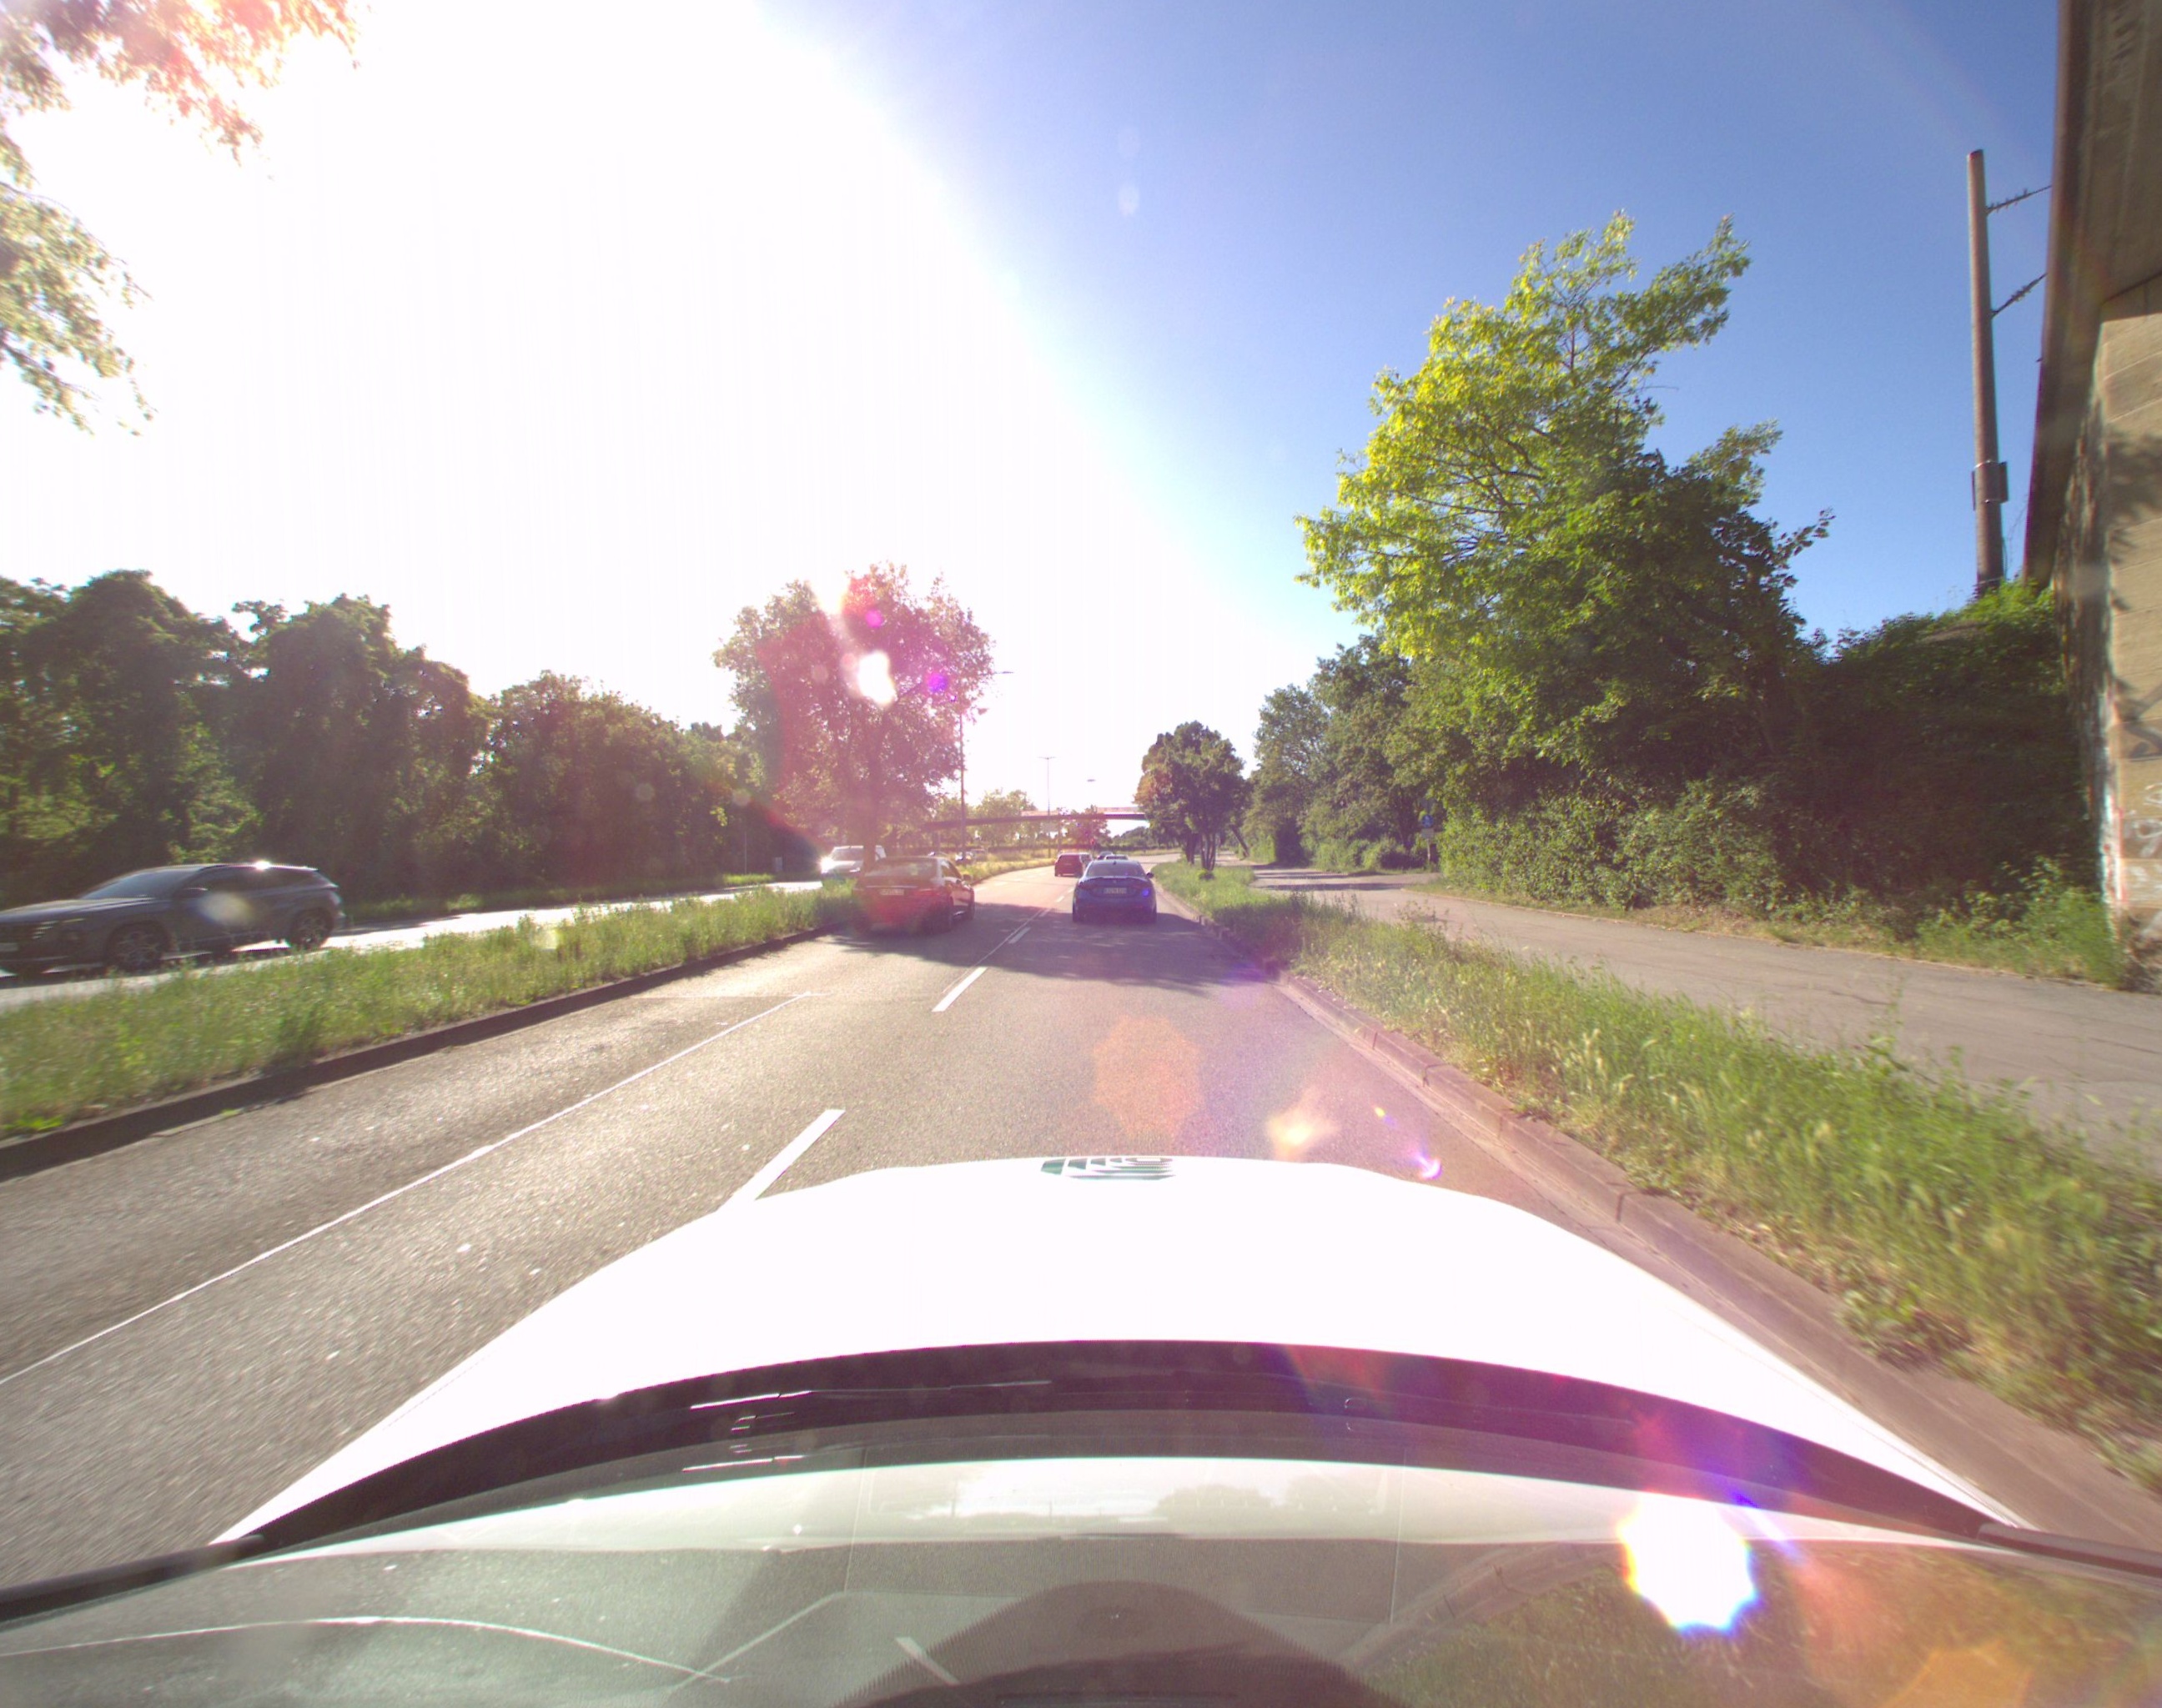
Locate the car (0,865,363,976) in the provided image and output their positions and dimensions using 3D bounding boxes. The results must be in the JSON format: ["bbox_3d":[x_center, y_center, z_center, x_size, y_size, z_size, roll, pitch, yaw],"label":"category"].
[{"bbox_3d":[-15.421,0.978,13.974,1.974,1.552,4.595,0,0,2],"label":"car"}]

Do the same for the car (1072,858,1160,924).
[{"bbox_3d":[0.818,0.814,19.579,1.876,1.406,4.225,0,0,2],"label":"car"}]

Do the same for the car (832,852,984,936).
[{"bbox_3d":[-3.394,0.727,17.052,1.951,1.483,4.921,-1,0,2],"label":"car"}]

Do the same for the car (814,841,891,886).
[{"bbox_3d":[-10.650,0.445,38.401,1.986,1.929,5.247,-1,0,2],"label":"car"}]

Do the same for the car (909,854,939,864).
[{"bbox_3d":[-25.016,0.804,129.866,4.270,1.650,2.010,0,-1,21],"label":"car"}]

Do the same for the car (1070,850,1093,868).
[{"bbox_3d":[0.076,0.438,71.386,1.876,1.454,4.528,0,0,2],"label":"car"}]

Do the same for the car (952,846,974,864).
[{"bbox_3d":[-13.458,0.123,92.978,1.988,2.014,4.579,0,0,-2],"label":"car"}]

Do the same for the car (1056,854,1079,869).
[{"bbox_3d":[-1.420,0.841,86.775,1.786,1.556,3.740,0,0,10],"label":"car"}]

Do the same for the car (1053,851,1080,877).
[{"bbox_3d":[-0.919,0.648,53.418,1.703,1.598,4.222,0,0,-1],"label":"car"}]

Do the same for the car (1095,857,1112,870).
[{"bbox_3d":[2.453,1.015,88.547,1.876,1.454,4.528,0,0,2],"label":"car"}]

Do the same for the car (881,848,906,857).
[{"bbox_3d":[-40.502,-0.364,175.786,4.764,2.014,2.002,0,-1,4],"label":"car"}]

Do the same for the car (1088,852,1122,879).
[{"bbox_3d":[1.384,0.647,46.884,1.876,1.454,4.528,0,0,2],"label":"car"}]
